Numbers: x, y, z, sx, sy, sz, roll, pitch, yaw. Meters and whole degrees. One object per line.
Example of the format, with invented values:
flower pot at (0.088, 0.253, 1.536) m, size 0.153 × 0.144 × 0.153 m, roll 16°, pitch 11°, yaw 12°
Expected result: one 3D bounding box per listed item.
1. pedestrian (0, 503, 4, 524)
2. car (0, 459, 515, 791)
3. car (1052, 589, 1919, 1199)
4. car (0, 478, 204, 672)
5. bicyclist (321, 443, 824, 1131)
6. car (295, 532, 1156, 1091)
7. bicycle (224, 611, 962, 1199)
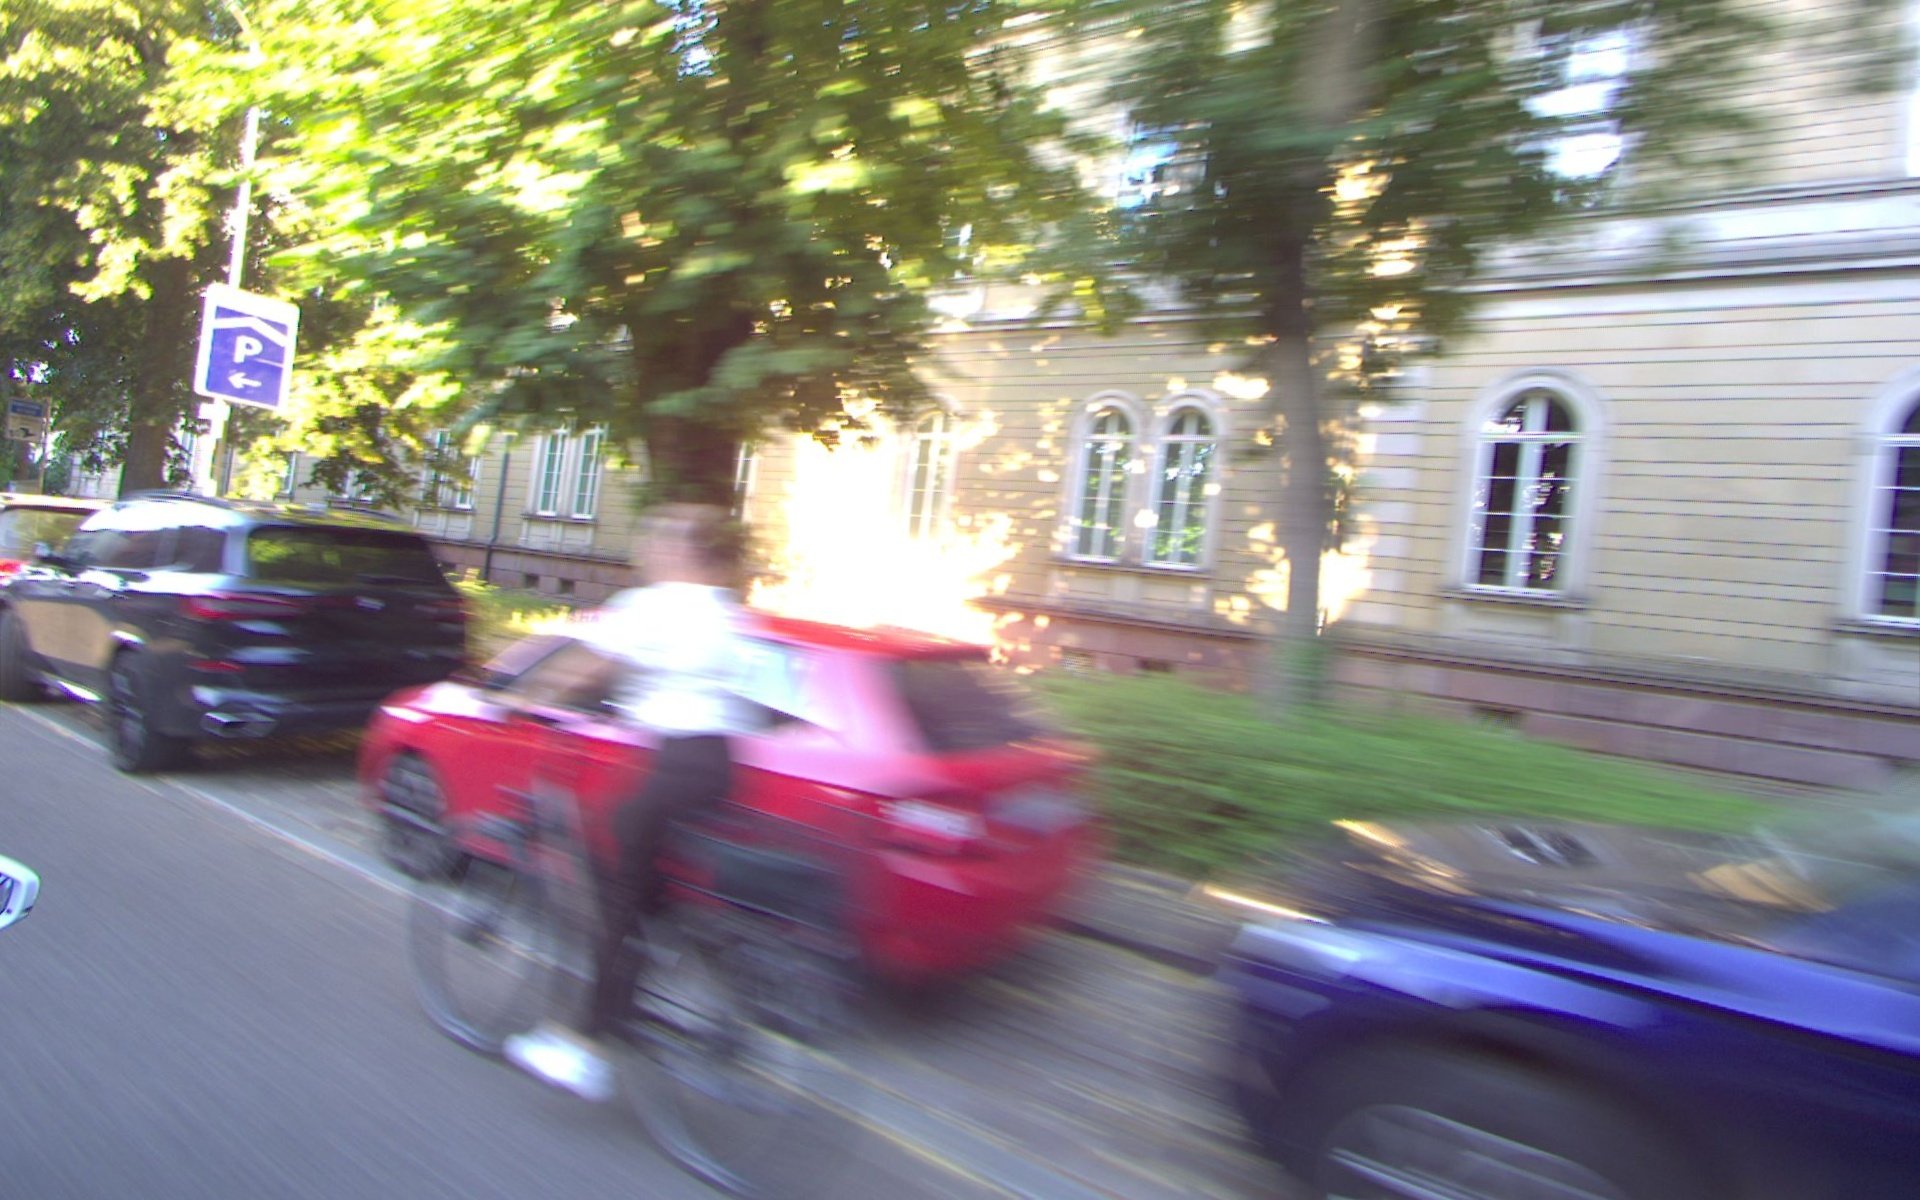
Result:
pedestrian at (-63.702, -5.740, 66.209) m, size 0.773 × 1.363 × 0.762 m, roll 7°, pitch -1°, yaw 17°
car at (-5.718, 0.034, 7.637) m, size 4.868 × 1.834 × 1.807 m, roll 5°, pitch -2°, yaw 34°
car at (2.761, 1.089, 2.273) m, size 4.619 × 1.707 × 1.884 m, roll 5°, pitch -2°, yaw 33°
car at (-10.198, -0.357, 10.845) m, size 4.426 × 1.702 × 1.726 m, roll 5°, pitch -2°, yaw 33°
bicyclist at (-1.135, 0.438, 2.987) m, size 1.021 × 1.632 × 0.752 m, roll 7°, pitch 0°, yaw 31°
car at (-1.265, 0.684, 4.964) m, size 3.903 × 1.607 × 1.727 m, roll 6°, pitch -2°, yaw 31°
bicycle at (-1.186, 0.809, 3.016) m, size 2.173 × 1.267 × 0.752 m, roll 7°, pitch -1°, yaw 31°
